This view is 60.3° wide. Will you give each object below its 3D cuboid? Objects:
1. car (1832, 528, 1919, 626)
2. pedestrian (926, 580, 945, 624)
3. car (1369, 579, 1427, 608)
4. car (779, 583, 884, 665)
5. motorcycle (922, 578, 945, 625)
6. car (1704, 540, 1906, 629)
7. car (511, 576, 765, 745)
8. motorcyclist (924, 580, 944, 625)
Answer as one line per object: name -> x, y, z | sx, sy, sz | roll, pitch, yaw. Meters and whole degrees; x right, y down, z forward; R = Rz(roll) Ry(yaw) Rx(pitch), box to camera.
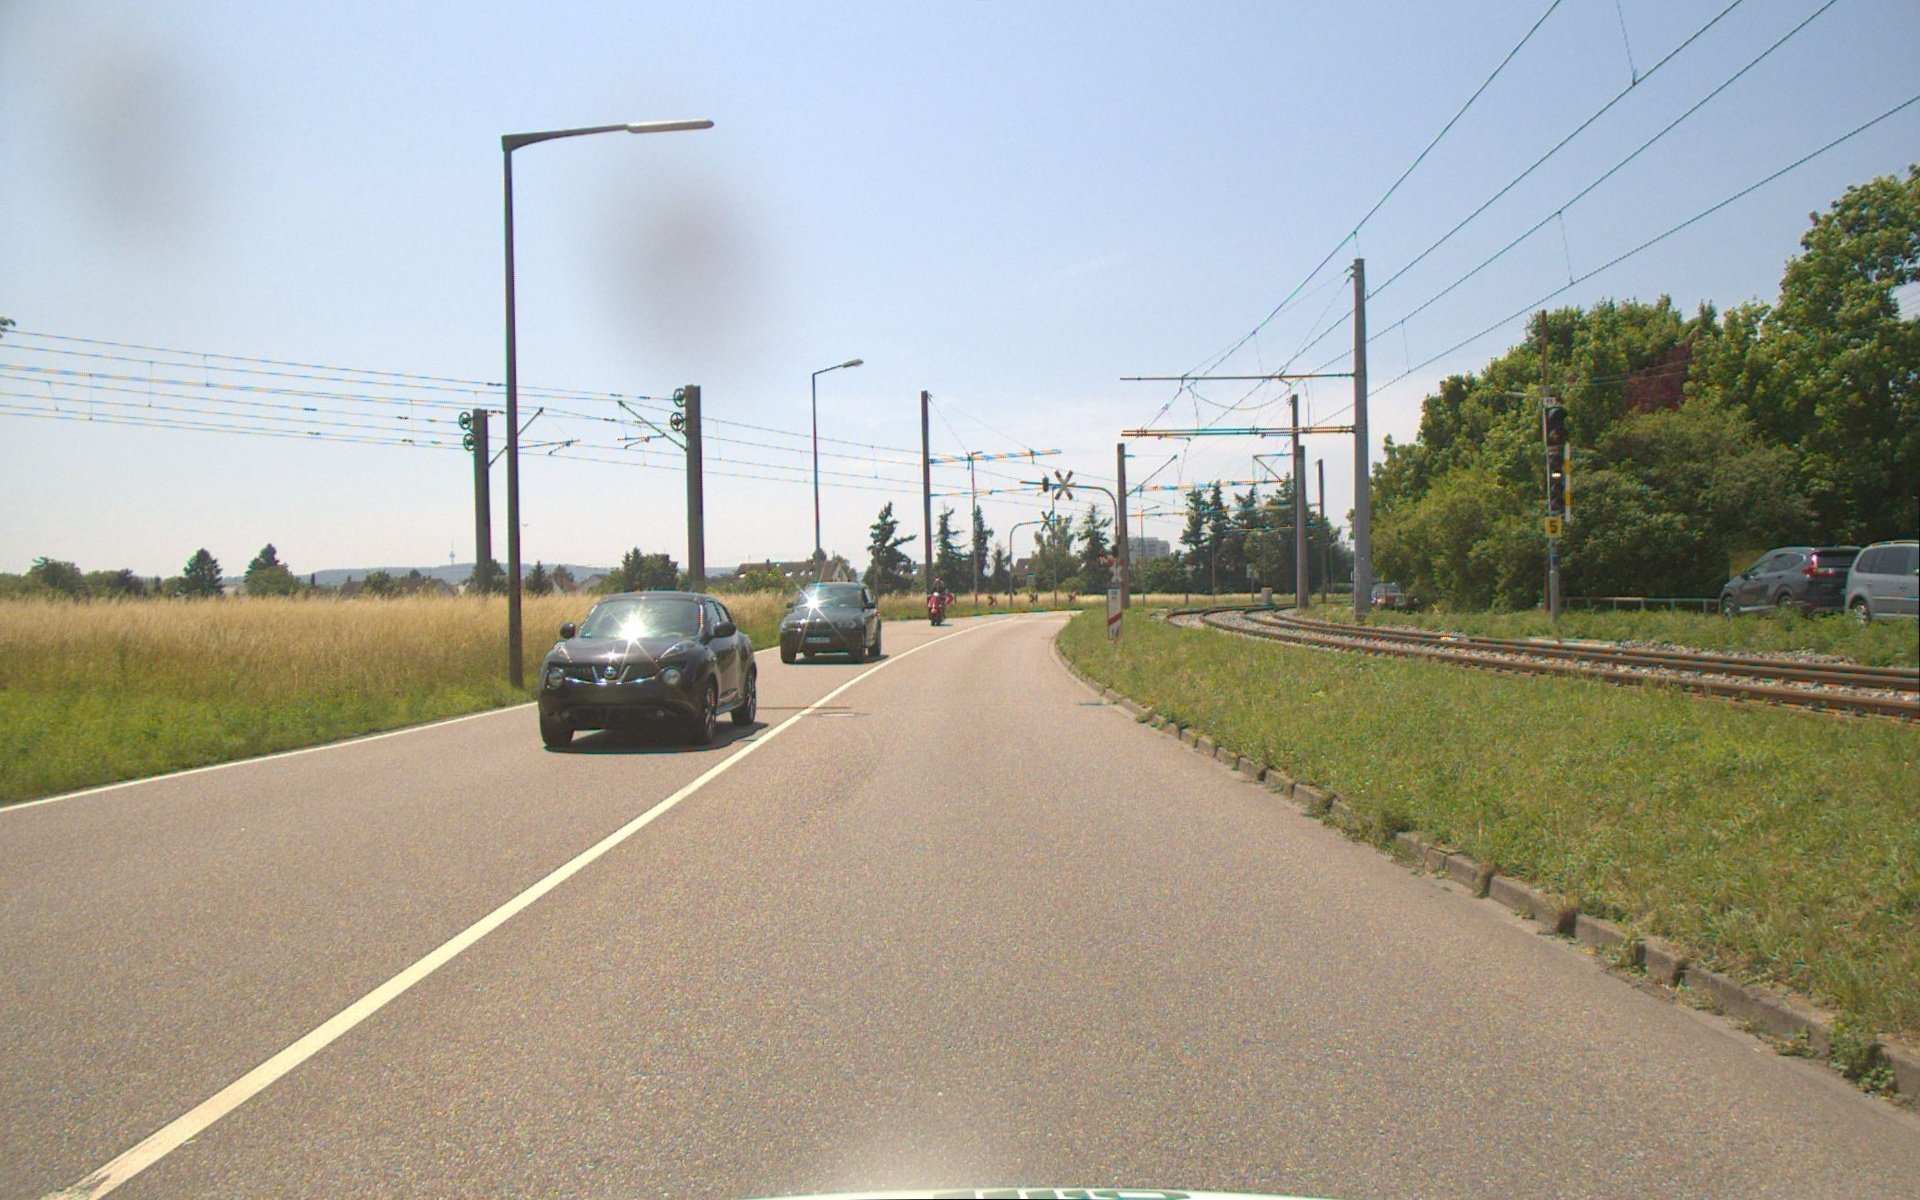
car -> 17.173, -0.410, 28.474 | 1.643, 1.653, 4.709 | -2, -1, -2
pedestrian -> -0.907, 0.062, 60.708 | 0.629, 1.562, 0.577 | -2, 2, 1
car -> 19.950, -0.290, 75.474 | 1.611, 1.191, 3.668 | -2, -1, -1
car -> -2.746, 0.463, 36.202 | 1.789, 1.629, 4.485 | -1, 1, 1
motorcycle -> -0.954, 0.047, 60.063 | 0.689, 1.613, 2.147 | -2, 2, 1
car -> 17.584, -0.260, 34.718 | 1.790, 1.686, 4.816 | -2, -1, 1
car -> -3.387, 0.623, 18.172 | 1.784, 1.600, 4.113 | -2, -1, 2
motorcyclist -> -0.953, 0.085, 60.104 | 0.674, 1.613, 0.670 | -2, 3, 1
